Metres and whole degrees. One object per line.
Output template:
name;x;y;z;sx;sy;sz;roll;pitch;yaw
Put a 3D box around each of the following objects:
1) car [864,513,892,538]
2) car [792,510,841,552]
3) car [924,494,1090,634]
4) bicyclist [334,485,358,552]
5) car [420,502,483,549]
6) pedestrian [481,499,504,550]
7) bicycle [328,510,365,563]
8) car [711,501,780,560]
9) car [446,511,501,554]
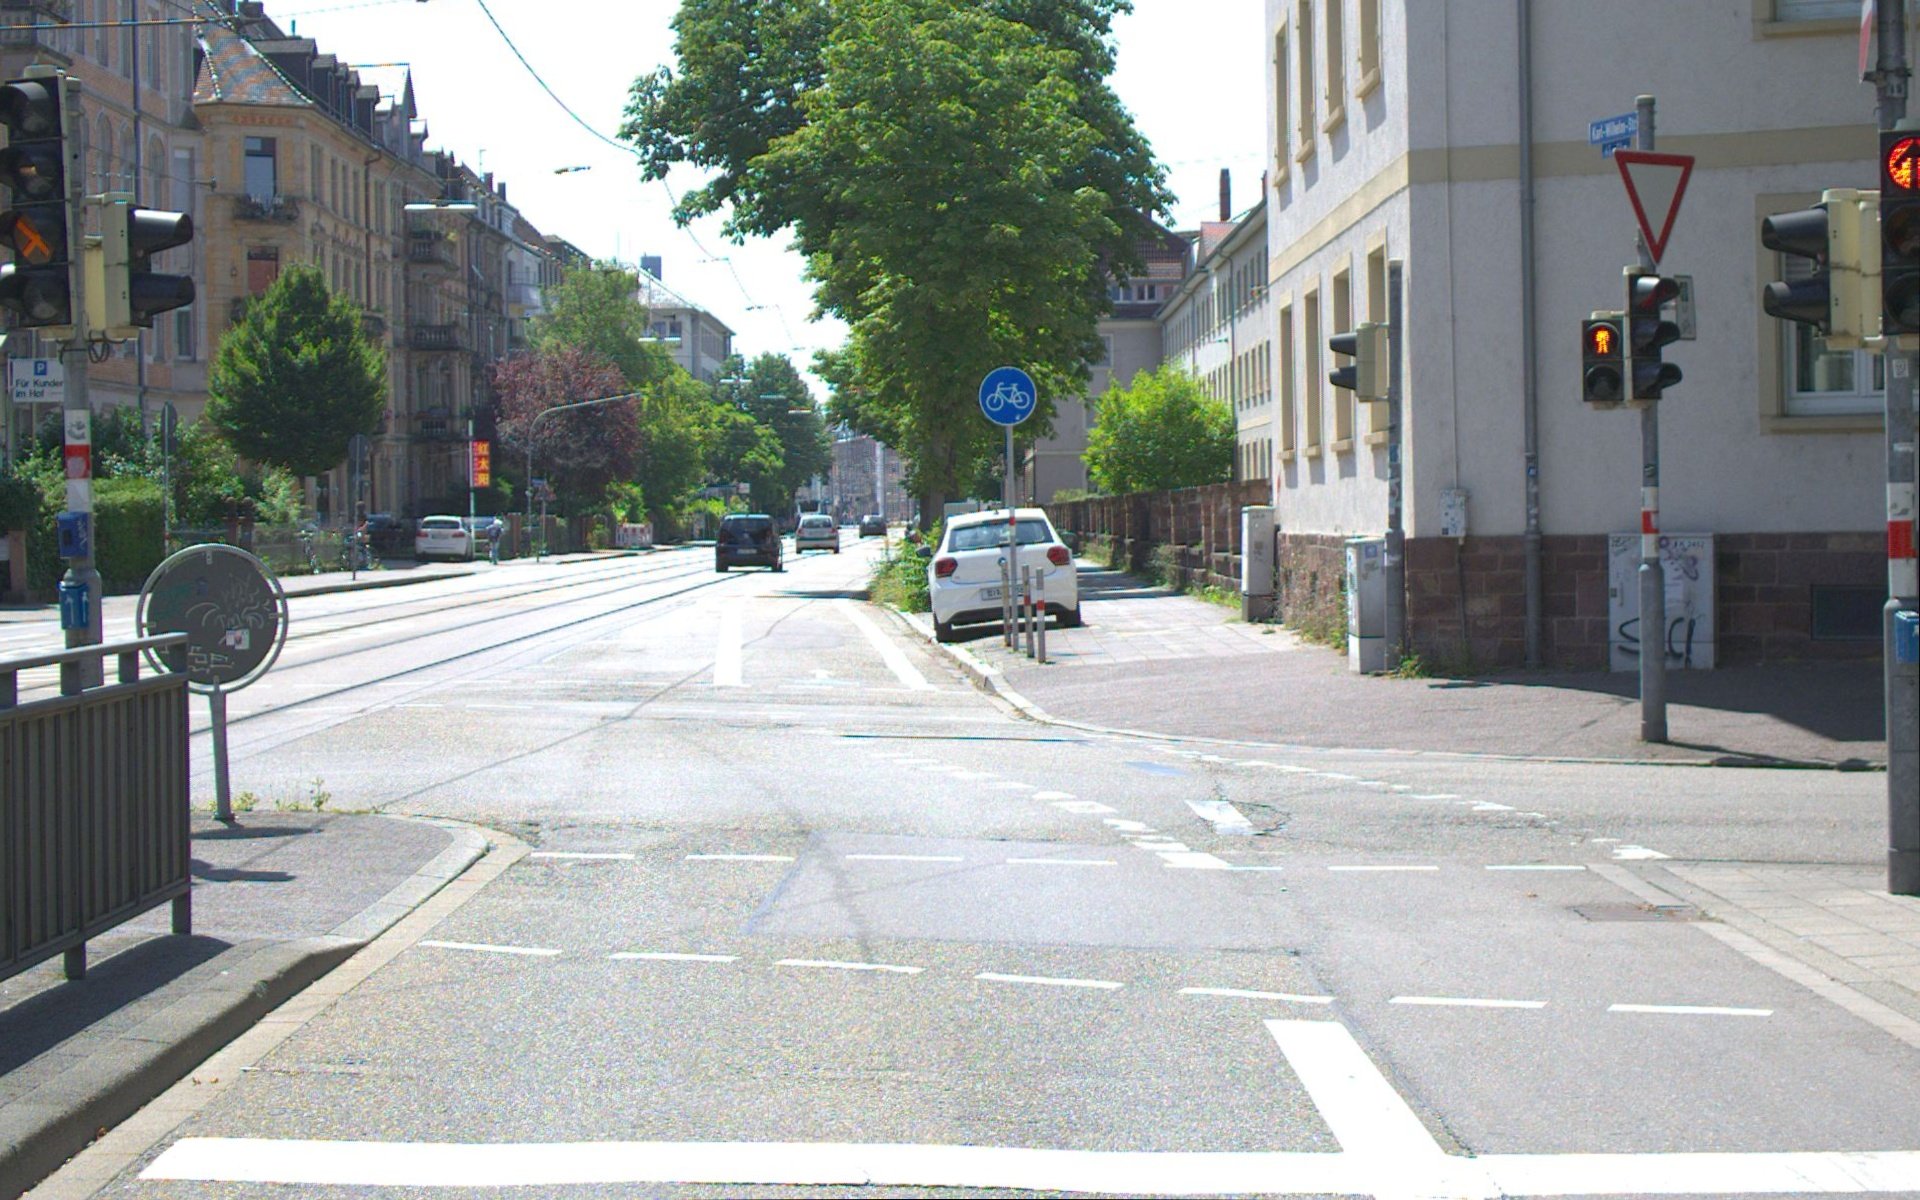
car;-5.331;-4.821;222.506;1.628;1.467;3.564;-4;1;-3
car;-5.554;-2.676;133.284;1.747;1.467;3.939;-4;1;-1
car;0.513;-0.447;41.042;1.747;1.467;3.939;-4;1;-1
bicyclist;-16.250;-2.157;90.976;0.542;1.757;0.498;0;1;-1
car;-17.650;-2.579;119.401;1.684;1.467;3.939;-4;1;-3
pedestrian;-15.838;-2.549;116.500;0.678;1.721;0.677;0;1;-1
bicycle;-16.251;-1.685;91.100;0.577;1.383;2.501;0;1;-1
car;-5.512;-1.801;88.674;1.525;1.439;3.365;-2;1;0
car;-18.070;-2.518;127.783;1.628;1.467;3.564;-4;1;-3
